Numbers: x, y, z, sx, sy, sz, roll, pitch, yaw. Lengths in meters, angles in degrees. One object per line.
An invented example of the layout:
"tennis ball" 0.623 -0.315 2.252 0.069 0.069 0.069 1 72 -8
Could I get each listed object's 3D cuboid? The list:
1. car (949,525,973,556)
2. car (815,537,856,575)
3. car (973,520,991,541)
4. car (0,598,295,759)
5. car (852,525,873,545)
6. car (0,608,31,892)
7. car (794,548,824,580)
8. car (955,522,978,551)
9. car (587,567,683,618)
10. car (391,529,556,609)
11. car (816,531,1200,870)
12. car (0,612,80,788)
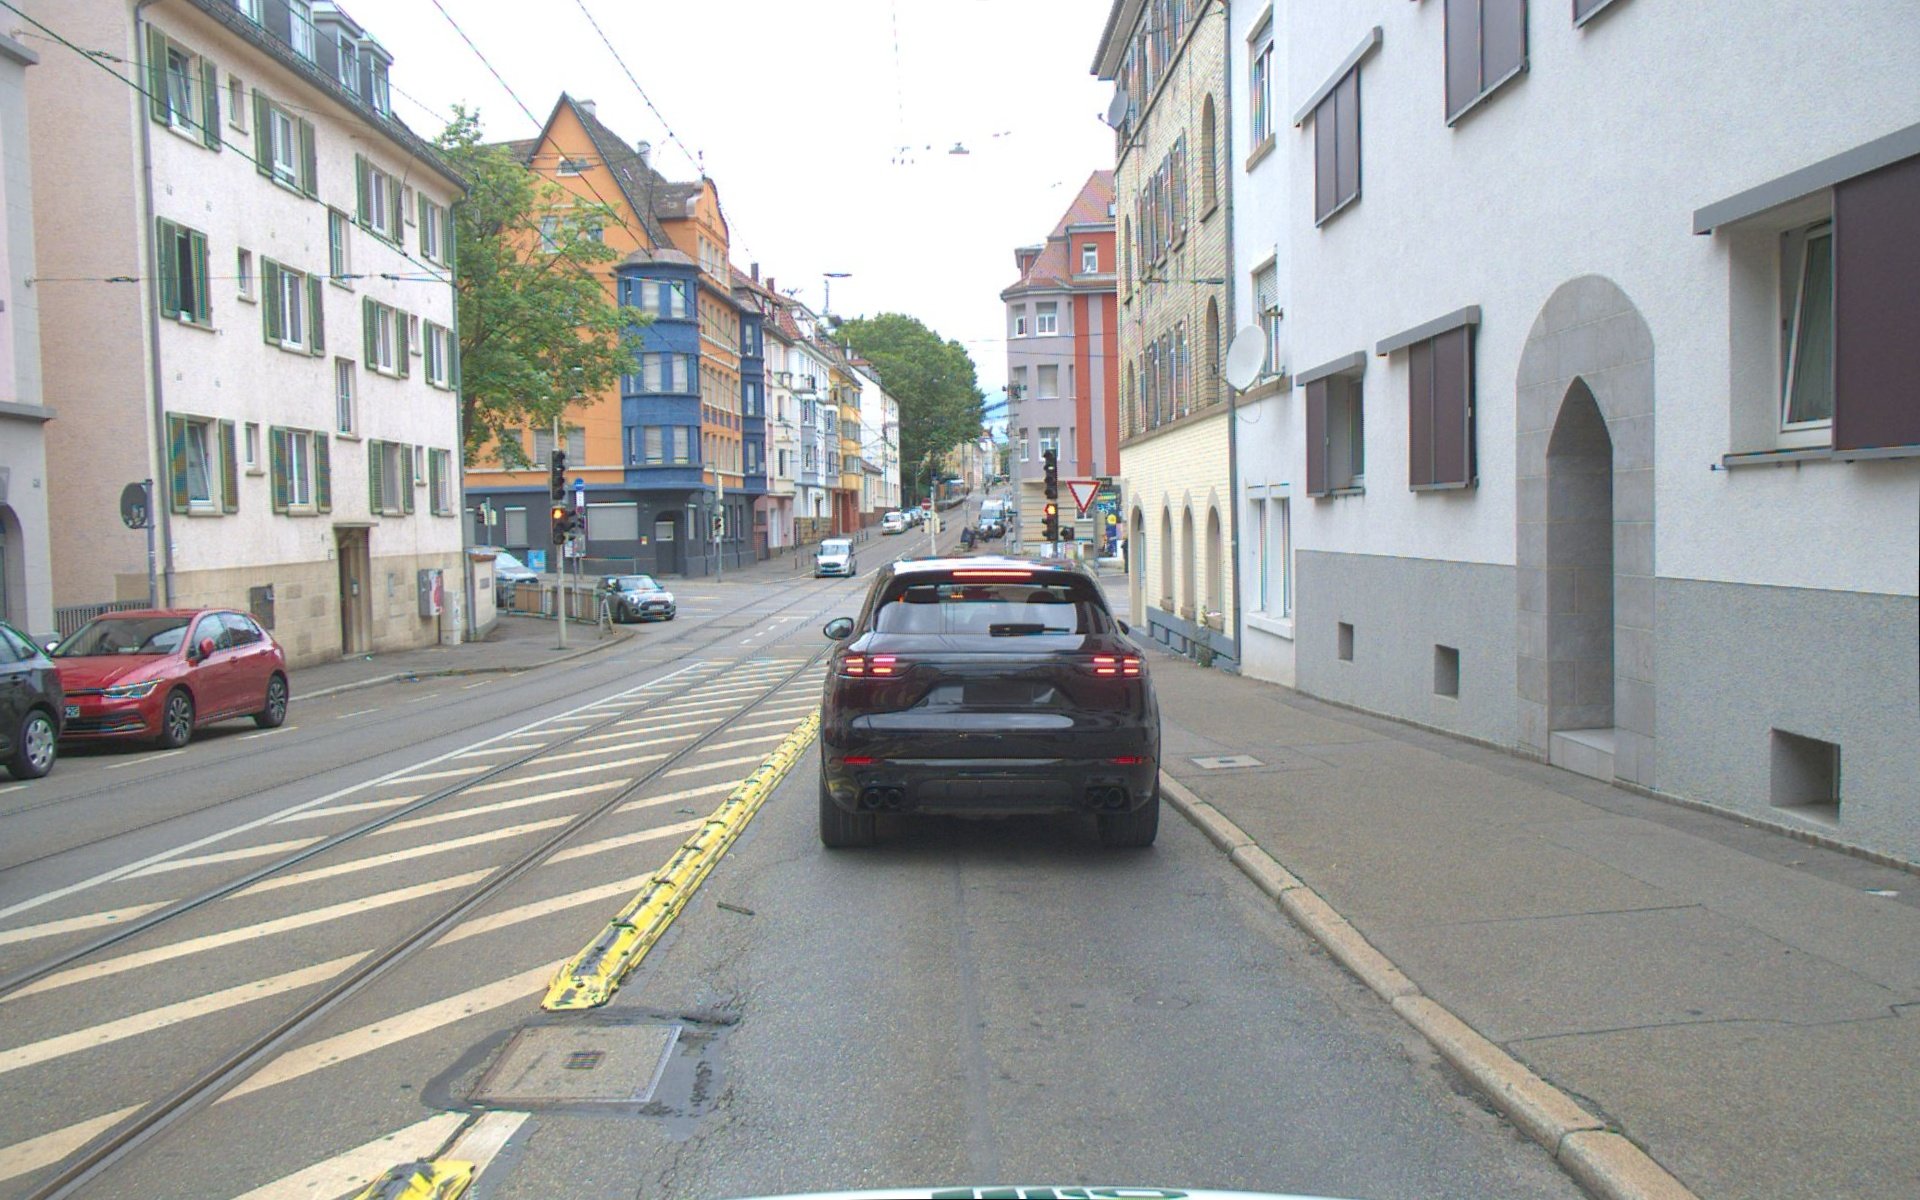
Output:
"car" 0.030 -3.554 98.689 1.366 1.752 3.358 -1 1 0
"car" -6.234 -2.178 83.151 1.715 1.790 4.253 -1 1 0
"car" 1.730 -5.477 130.786 1.366 1.476 3.358 -1 1 0
"car" -8.881 0.772 18.209 1.588 1.516 4.045 -2 0 -2
"car" -7.532 -5.024 128.104 1.366 1.476 3.358 -1 1 0
"car" -5.813 0.811 6.472 1.882 1.449 4.497 -1 1 -2
"car" -8.407 -2.002 92.299 1.366 1.752 3.358 -1 1 0
"car" 0.407 -4.025 105.684 1.366 1.752 3.358 -1 1 0
"car" -10.180 -0.236 51.674 1.621 1.534 3.495 -1 1 -36
"car" -17.468 -1.117 59.478 5.179 2.279 2.001 1 -15 20
"car" 0.207 0.496 10.535 1.953 1.705 3.999 -1 1 -1
"car" -8.833 0.867 13.013 1.701 1.434 3.999 -1 1 -1
